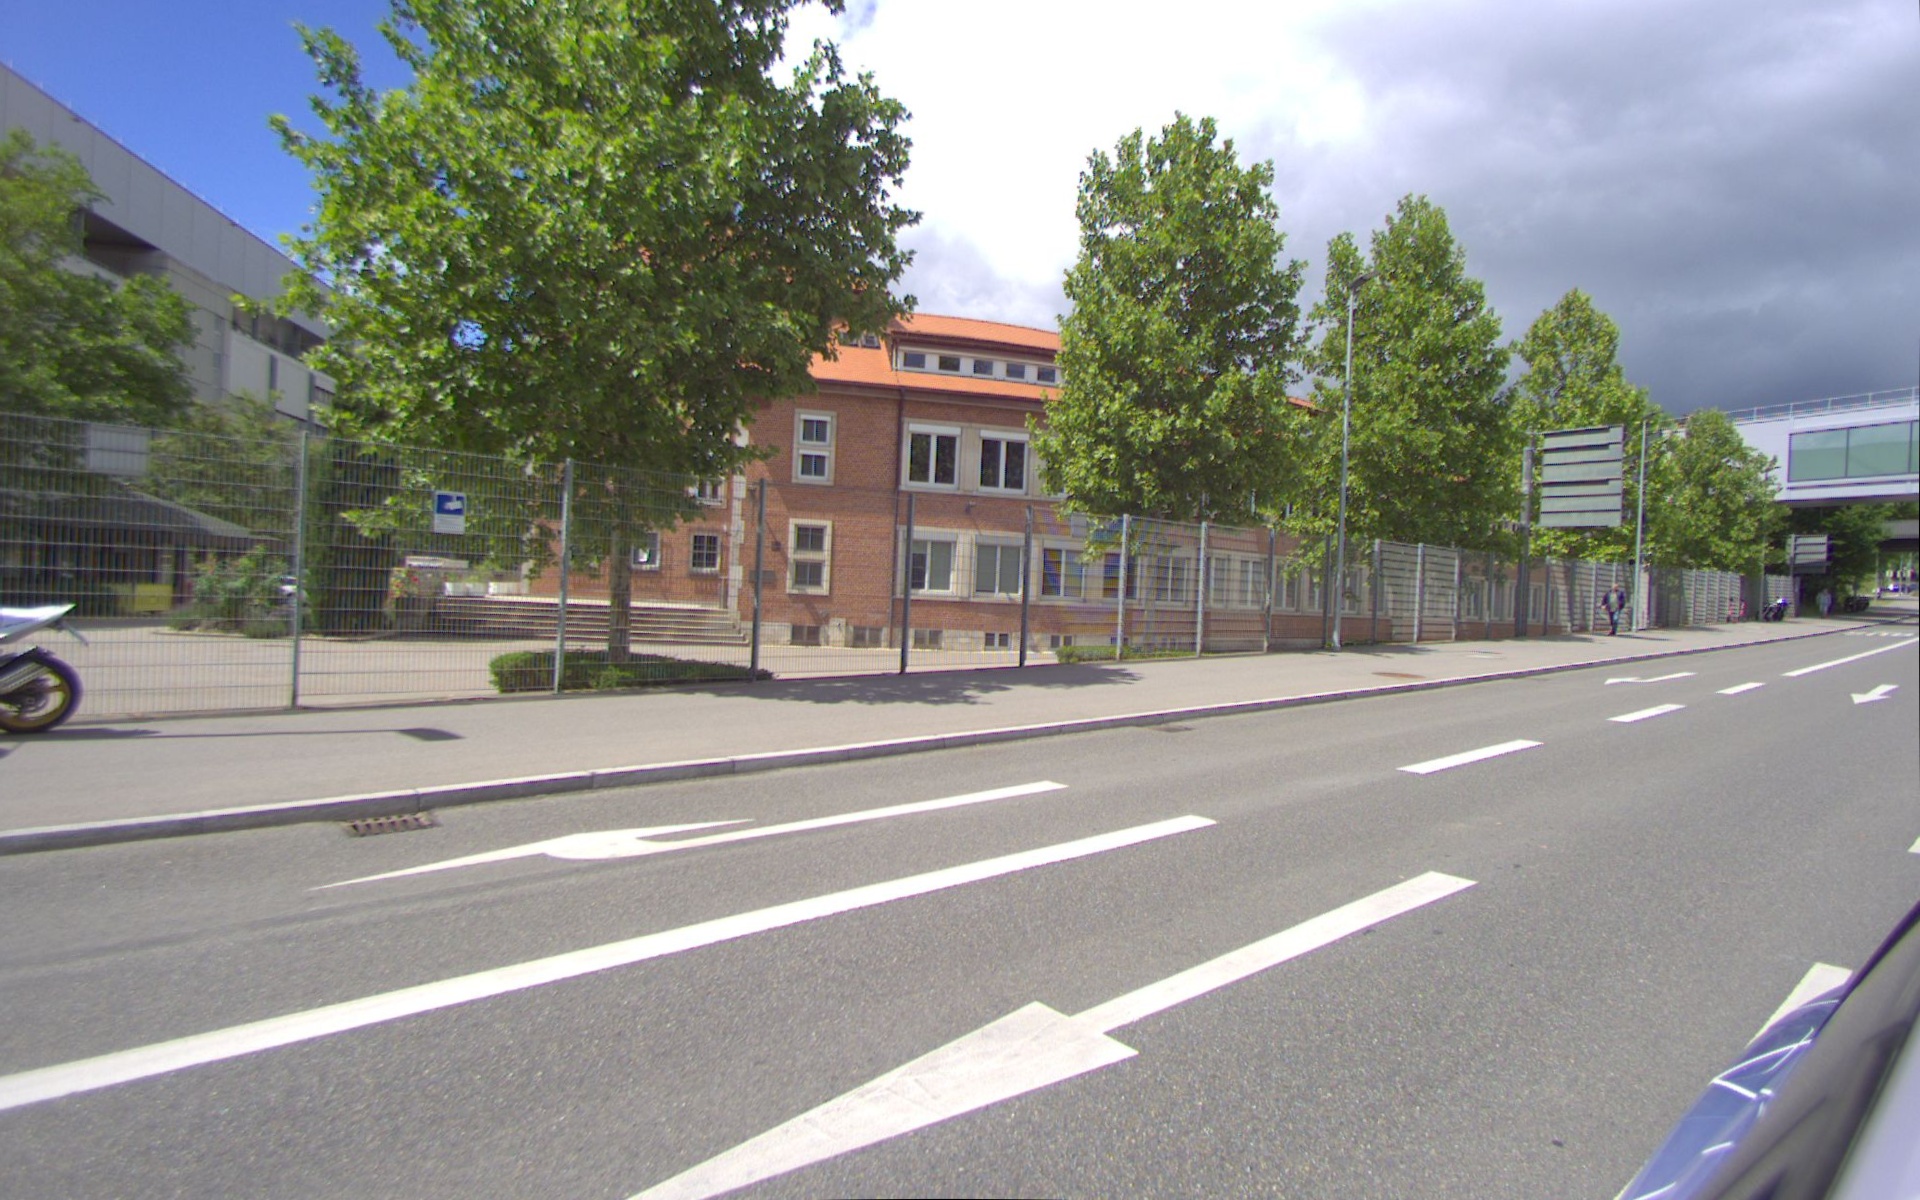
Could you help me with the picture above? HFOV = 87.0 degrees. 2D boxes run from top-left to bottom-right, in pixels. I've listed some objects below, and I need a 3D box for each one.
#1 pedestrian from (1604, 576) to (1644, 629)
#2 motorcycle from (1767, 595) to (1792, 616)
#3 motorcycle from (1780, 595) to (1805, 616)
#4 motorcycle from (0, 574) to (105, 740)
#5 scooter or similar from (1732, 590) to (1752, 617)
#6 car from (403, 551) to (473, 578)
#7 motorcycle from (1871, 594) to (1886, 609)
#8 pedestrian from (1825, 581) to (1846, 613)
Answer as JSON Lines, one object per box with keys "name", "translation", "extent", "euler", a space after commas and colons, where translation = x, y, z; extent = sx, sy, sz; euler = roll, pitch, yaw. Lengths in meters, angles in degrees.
{"name": "pedestrian", "translation": [23.014, 0.083, 35.073], "extent": [0.924, 1.764, 0.879], "euler": [0, 3, -42]}
{"name": "motorcycle", "translation": [44.282, 0.270, 54.654], "extent": [2.209, 1.077, 0.669], "euler": [0, 4, -43]}
{"name": "motorcycle", "translation": [46.699, 0.306, 56.747], "extent": [2.467, 1.077, 0.709], "euler": [0, 4, -43]}
{"name": "motorcycle", "translation": [-7.516, 0.409, 7.219], "extent": [0.693, 1.172, 2.113], "euler": [4, 3, 44]}
{"name": "scooter or similar", "translation": [38.862, 0.182, 50.298], "extent": [1.314, 1.310, 0.492], "euler": [0, 2, -42]}
{"name": "car", "translation": [-36.055, -2.442, 70.046], "extent": [3.916, 1.805, 2.004], "euler": [-1, 1, -13]}
{"name": "motorcycle", "translation": [72.440, 0.112, 79.822], "extent": [2.144, 1.096, 0.679], "euler": [0, 2, -43]}
{"name": "pedestrian", "translation": [54.881, -0.193, 63.447], "extent": [1.078, 1.911, 0.790], "euler": [0, 2, -43]}
